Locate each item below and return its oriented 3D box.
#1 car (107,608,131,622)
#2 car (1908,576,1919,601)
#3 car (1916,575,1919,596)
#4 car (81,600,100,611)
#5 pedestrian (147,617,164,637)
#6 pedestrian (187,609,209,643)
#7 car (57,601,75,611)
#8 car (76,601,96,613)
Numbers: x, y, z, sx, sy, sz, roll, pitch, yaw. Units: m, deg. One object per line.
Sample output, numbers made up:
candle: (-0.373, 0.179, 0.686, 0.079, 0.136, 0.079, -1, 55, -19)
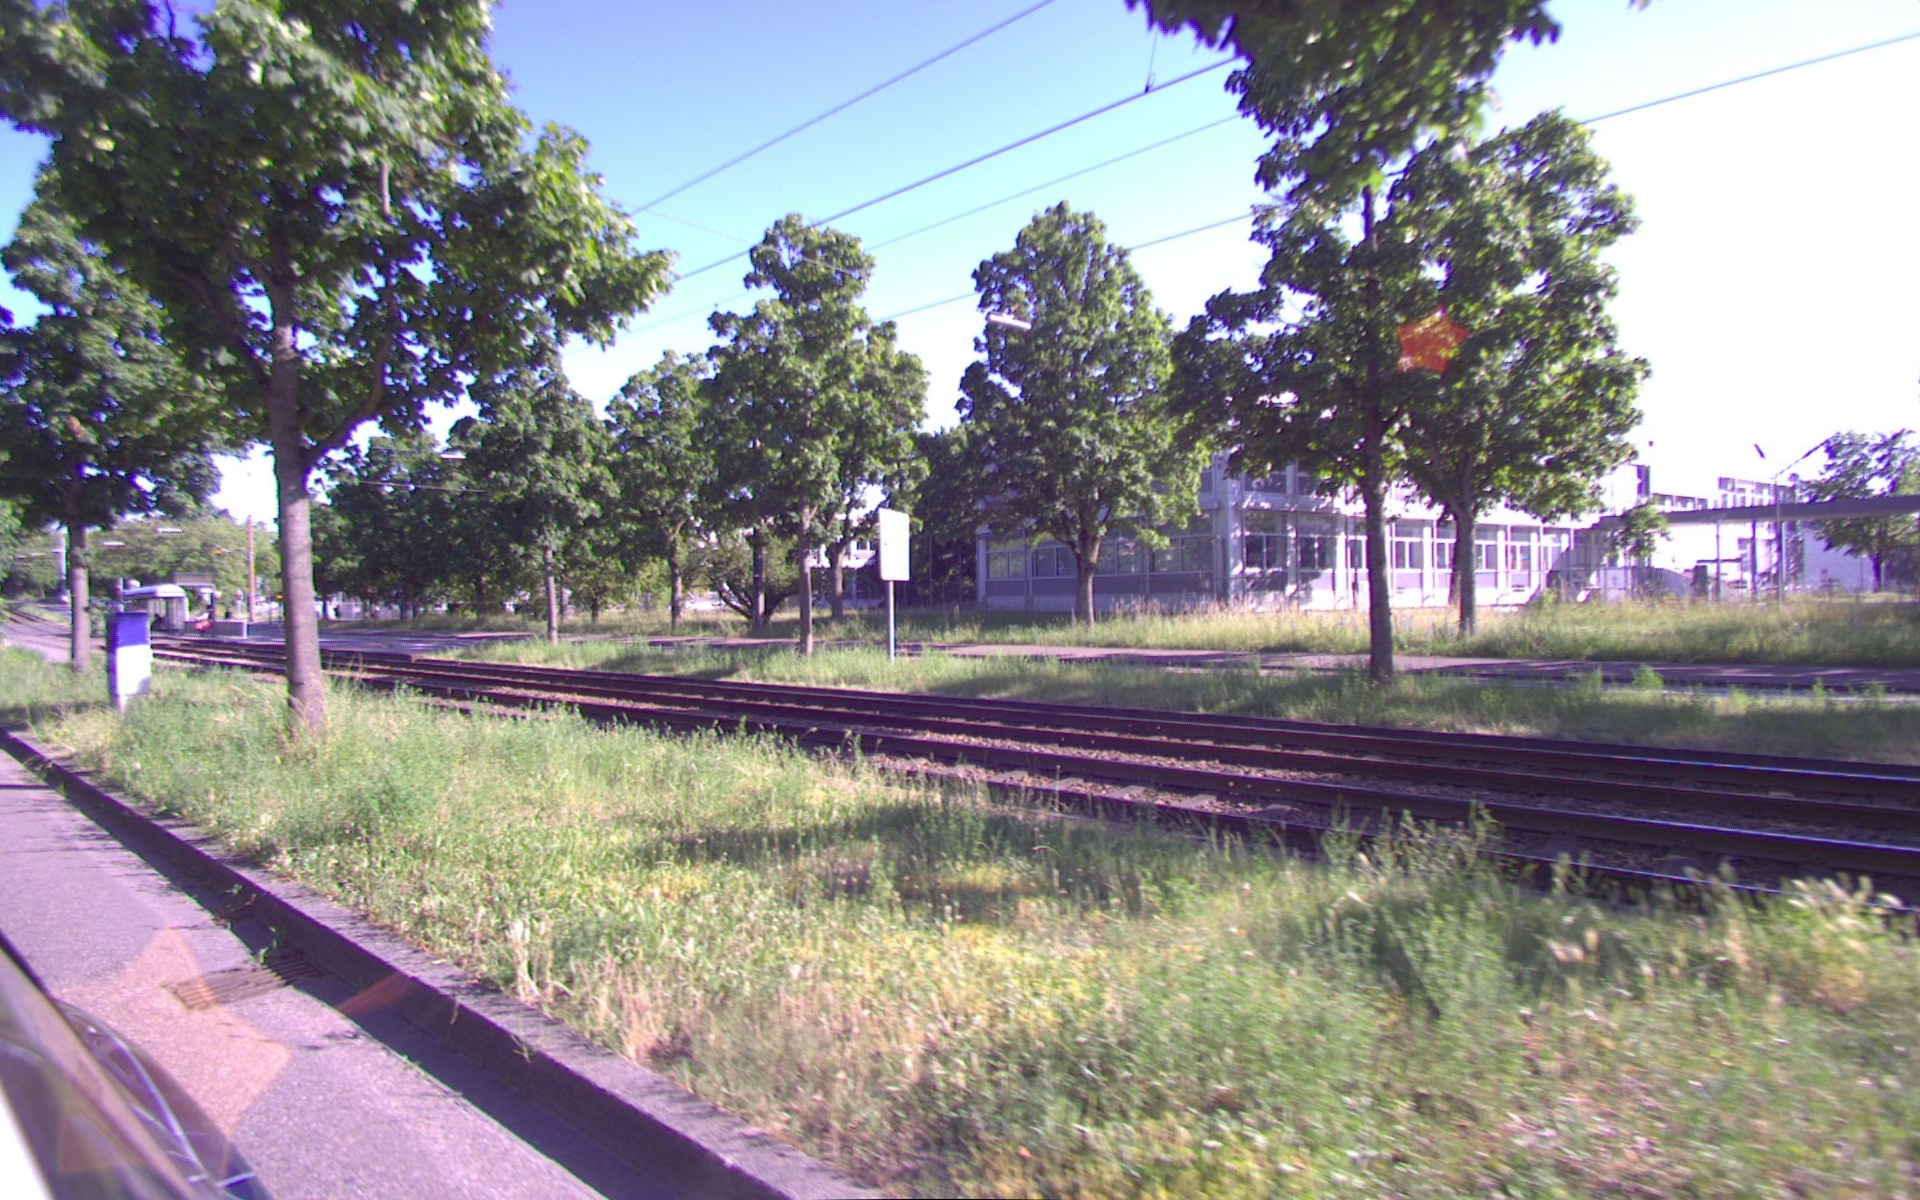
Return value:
car: (-103.808, 1.861, 124.962, 3.455, 1.597, 1.749, -1, -1, 41)
car: (50.761, -0.644, 51.995, 4.472, 1.276, 1.853, -1, 0, -31)
car: (58.839, -0.925, 60.124, 4.472, 1.240, 1.853, -1, 0, -31)
car: (-131.096, 0.796, 152.520, 3.455, 1.597, 1.679, -1, -1, 41)
pedestrian: (-51.386, 1.735, 64.620, 0.679, 1.258, 0.643, -1, -2, 34)
pedestrian: (-40.920, 1.391, 54.358, 0.781, 1.765, 0.775, -1, 0, 41)
car: (-146.604, 0.955, 165.948, 3.455, 1.597, 1.679, -1, -1, 41)
car: (-122.589, 1.001, 141.933, 3.455, 1.597, 1.679, -1, -1, 41)
